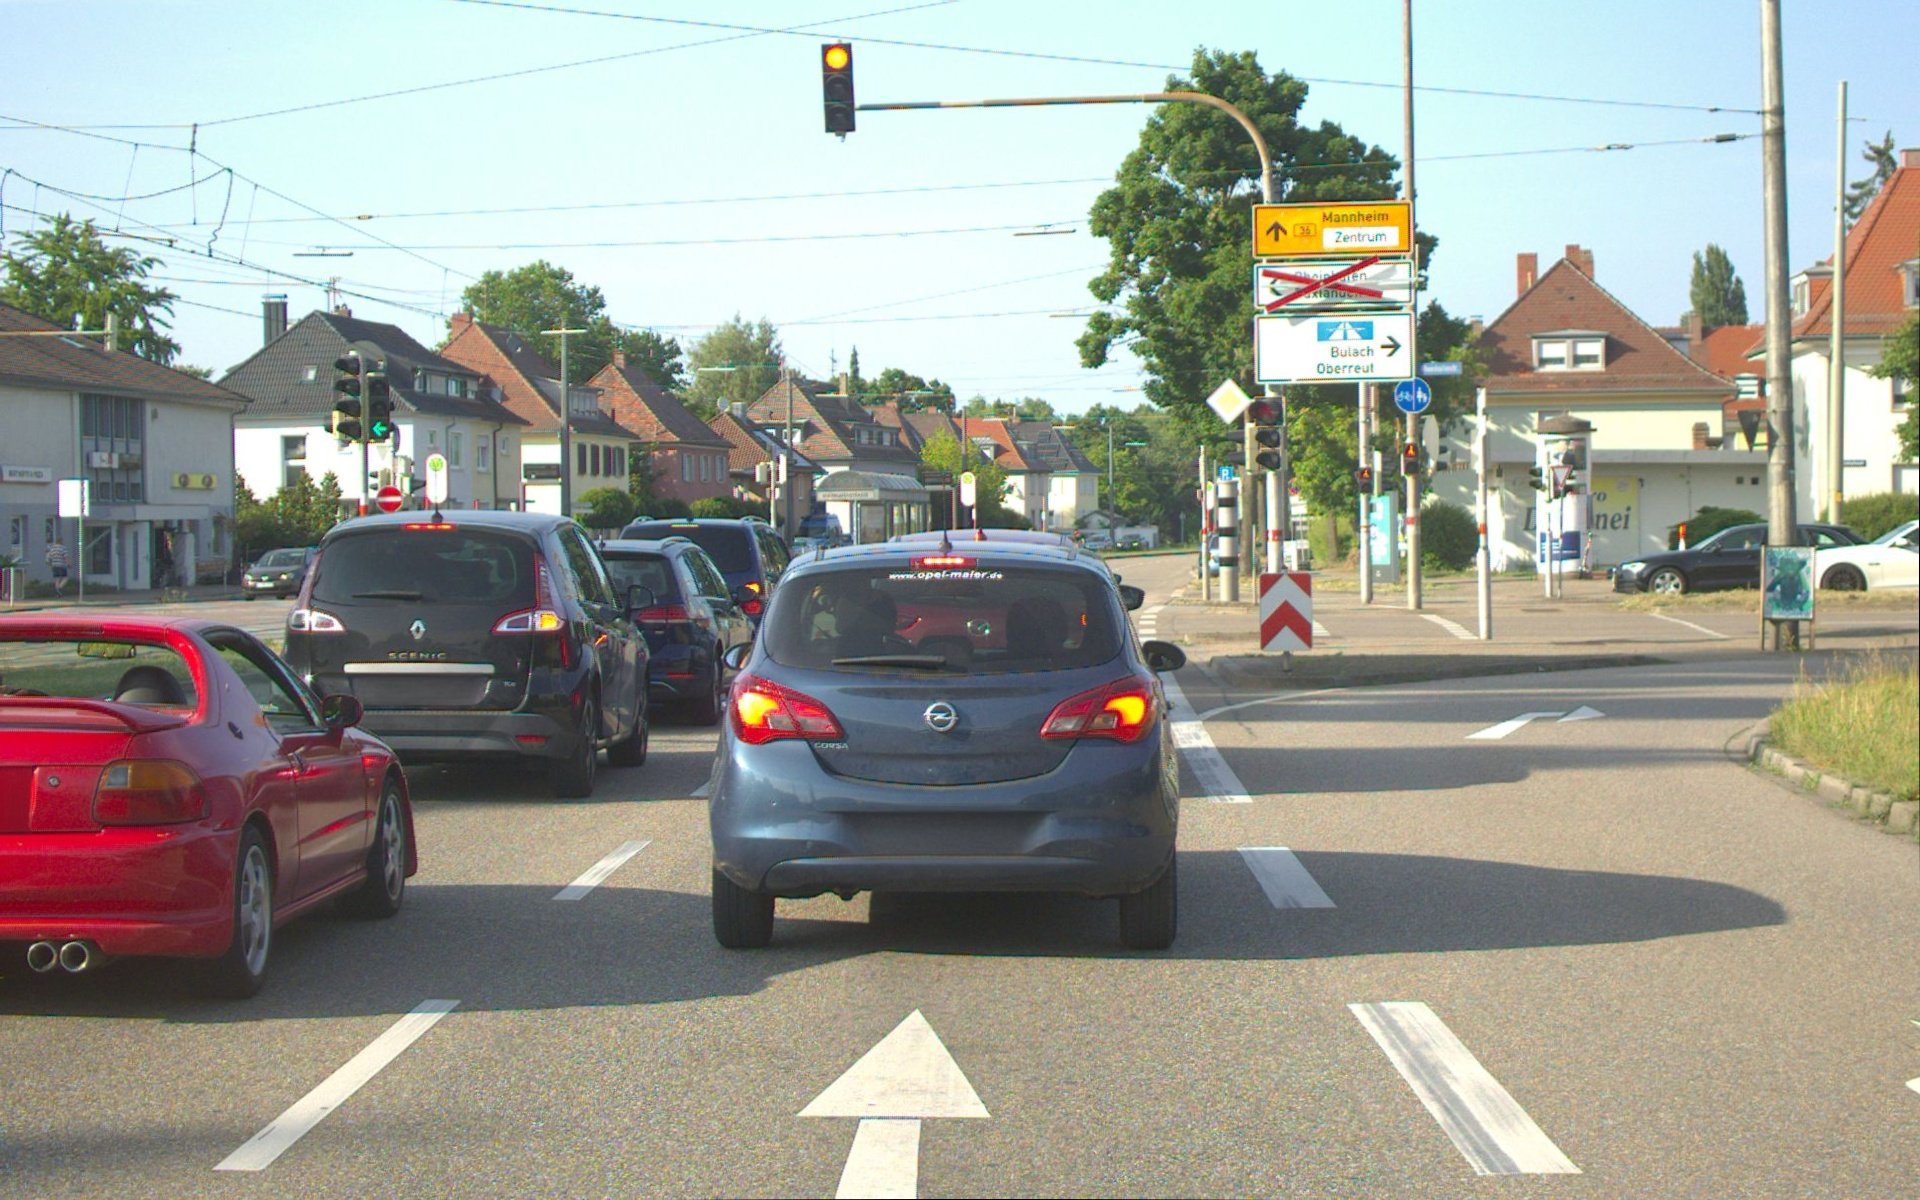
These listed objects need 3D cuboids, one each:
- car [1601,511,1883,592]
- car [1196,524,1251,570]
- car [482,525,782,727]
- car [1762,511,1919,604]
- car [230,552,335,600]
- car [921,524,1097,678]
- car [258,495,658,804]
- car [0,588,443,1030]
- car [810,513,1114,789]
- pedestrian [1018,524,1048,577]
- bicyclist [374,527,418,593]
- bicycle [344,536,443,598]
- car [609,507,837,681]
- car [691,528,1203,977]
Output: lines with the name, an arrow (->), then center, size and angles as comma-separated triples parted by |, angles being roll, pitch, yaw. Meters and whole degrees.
car -> 14.292, -0.890, 63.012 | 4.824, 1.406, 1.715 | -1, 1, 5
car -> 8.262, -1.648, 108.148 | 1.675, 1.393, 3.999 | 1, 0, 4
car -> -2.581, 0.147, 28.075 | 1.700, 1.503, 4.553 | 0, 1, 4
car -> 16.572, -0.759, 59.337 | 5.095, 1.557, 1.840 | -1, 1, 5
car -> -19.504, -0.697, 99.166 | 1.664, 1.341, 4.075 | -1, 0, 9
car -> 0.507, -0.031, 34.785 | 1.656, 1.438, 4.014 | -1, 1, 1
car -> -2.890, 0.219, 20.607 | 1.763, 1.665, 4.084 | 0, 1, 0
car -> -3.067, 0.614, 12.150 | 1.731, 1.202, 3.847 | 1, 1, 3
car -> 0.040, 0.247, 21.557 | 1.706, 1.546, 3.978 | -1, 1, 1
pedestrian -> 2.065, -1.397, 97.440 | 0.753, 1.494, 0.827 | 1, 0, 6
bicyclist -> -12.502, -0.888, 76.206 | 0.884, 1.426, 1.137 | 1, 0, -5
bicycle -> -12.551, -0.734, 76.212 | 2.073, 1.343, 1.109 | 1, 0, -5
car -> -2.356, -0.114, 35.252 | 1.507, 1.645, 4.743 | -1, 1, 6
car -> -0.049, 0.480, 13.901 | 1.741, 1.500, 4.223 | -1, 2, 0
